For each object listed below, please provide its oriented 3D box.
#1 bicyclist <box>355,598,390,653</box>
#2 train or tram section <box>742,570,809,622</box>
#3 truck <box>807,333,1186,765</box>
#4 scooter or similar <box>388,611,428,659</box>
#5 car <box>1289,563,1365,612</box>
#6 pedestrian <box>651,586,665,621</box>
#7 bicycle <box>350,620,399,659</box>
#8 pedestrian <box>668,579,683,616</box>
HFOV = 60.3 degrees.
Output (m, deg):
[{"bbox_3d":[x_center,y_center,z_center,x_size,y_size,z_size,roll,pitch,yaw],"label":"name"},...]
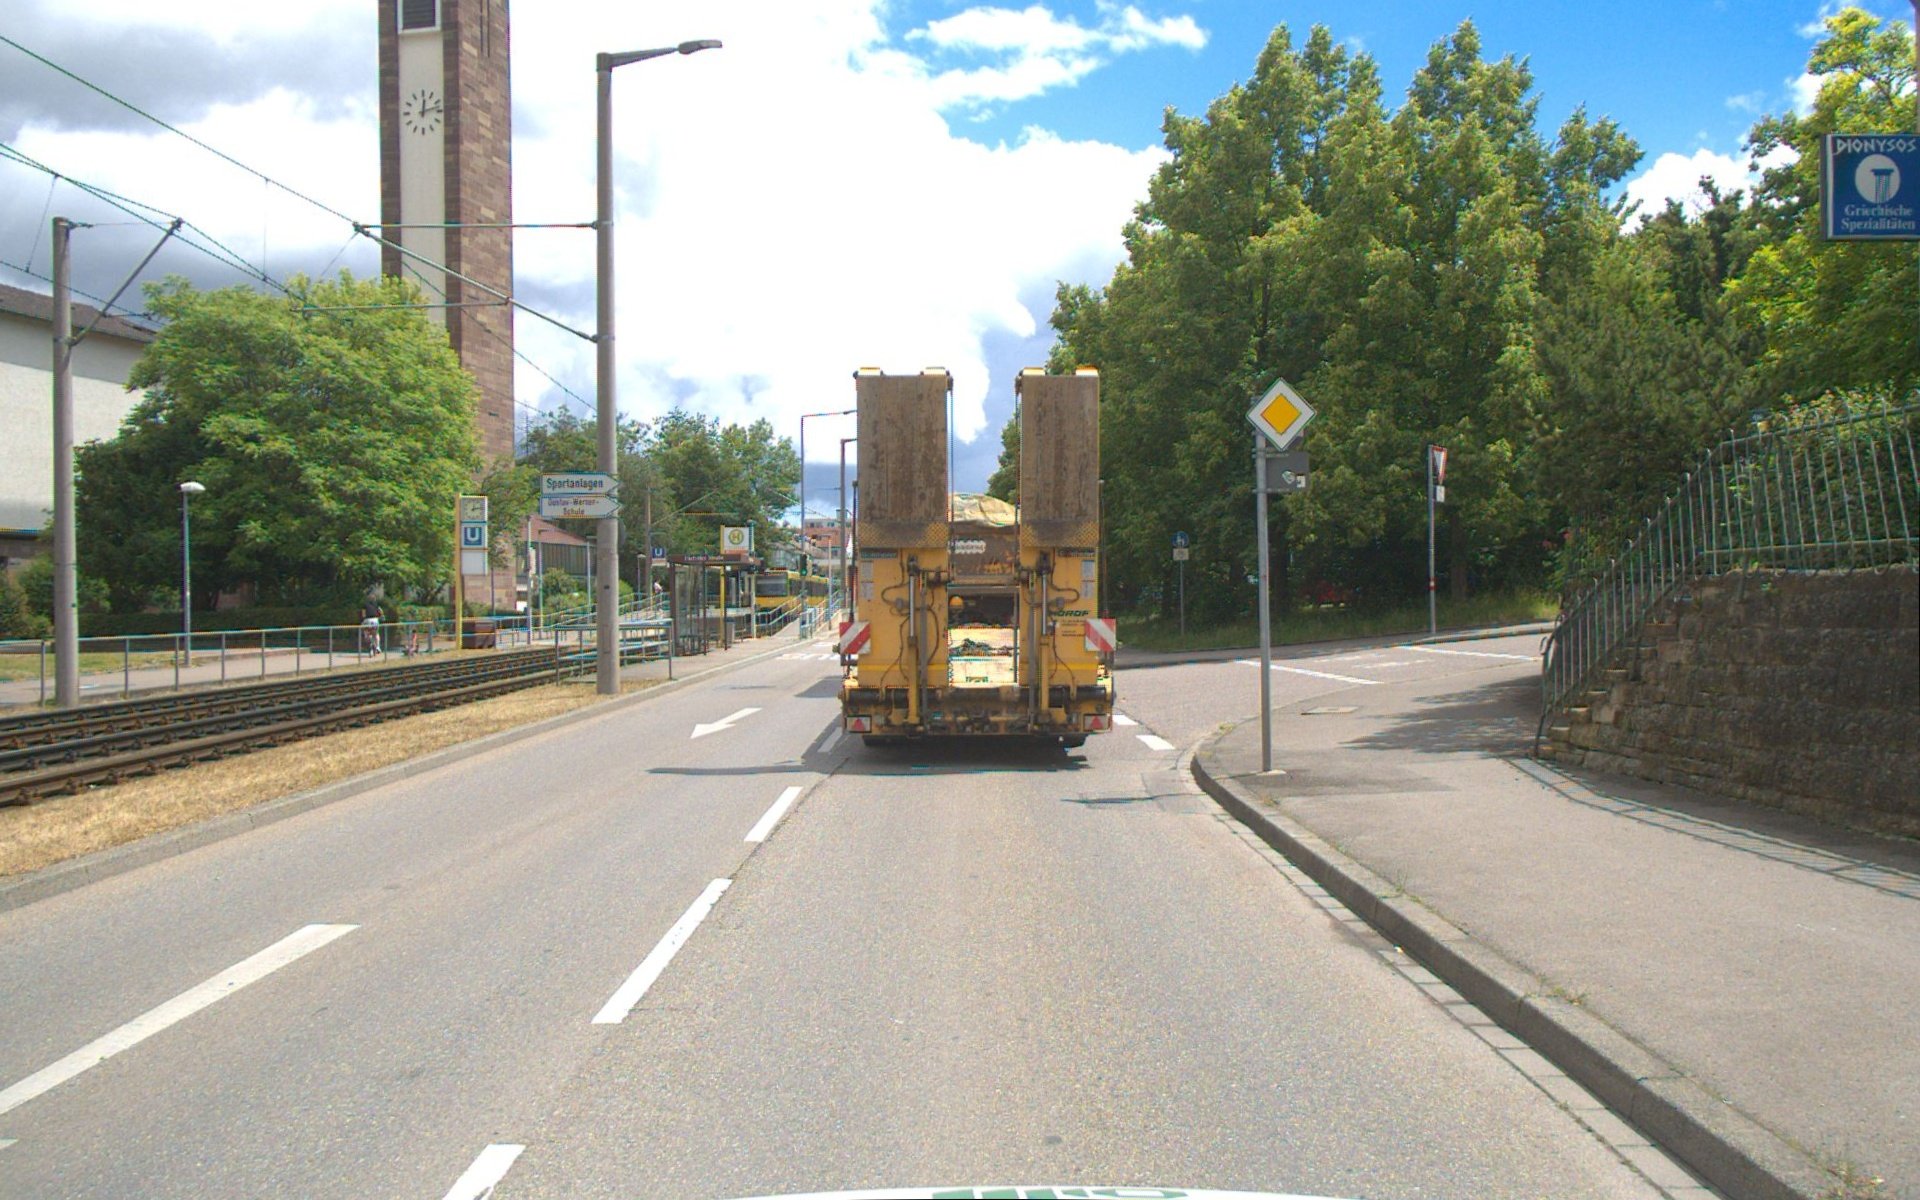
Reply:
[{"bbox_3d":[-15.761,0.676,44.401,0.620,1.454,0.790,1,-1,-1],"label":"bicyclist"},{"bbox_3d":[-13.385,-0.218,121.959,3.045,3.525,18.821,1,0,-1],"label":"train or tram section"},{"bbox_3d":[-0.039,-0.433,21.487,3.334,3.798,13.729,0,0,-3],"label":"truck"},{"bbox_3d":[-15.223,0.959,45.620,0.636,1.258,1.401,1,0,0],"label":"scooter or similar"},{"bbox_3d":[12.331,-0.395,55.787,1.627,1.526,3.662,-3,0,-1],"label":"car"},{"bbox_3d":[-16.049,0.188,87.938,0.572,1.809,0.576,1,-1,-1],"label":"pedestrian"},{"bbox_3d":[-15.777,1.062,44.609,0.624,1.011,1.928,1,0,-1],"label":"bicycle"},{"bbox_3d":[-15.934,-0.126,92.565,0.698,2.049,0.731,1,-1,-3],"label":"pedestrian"}]
